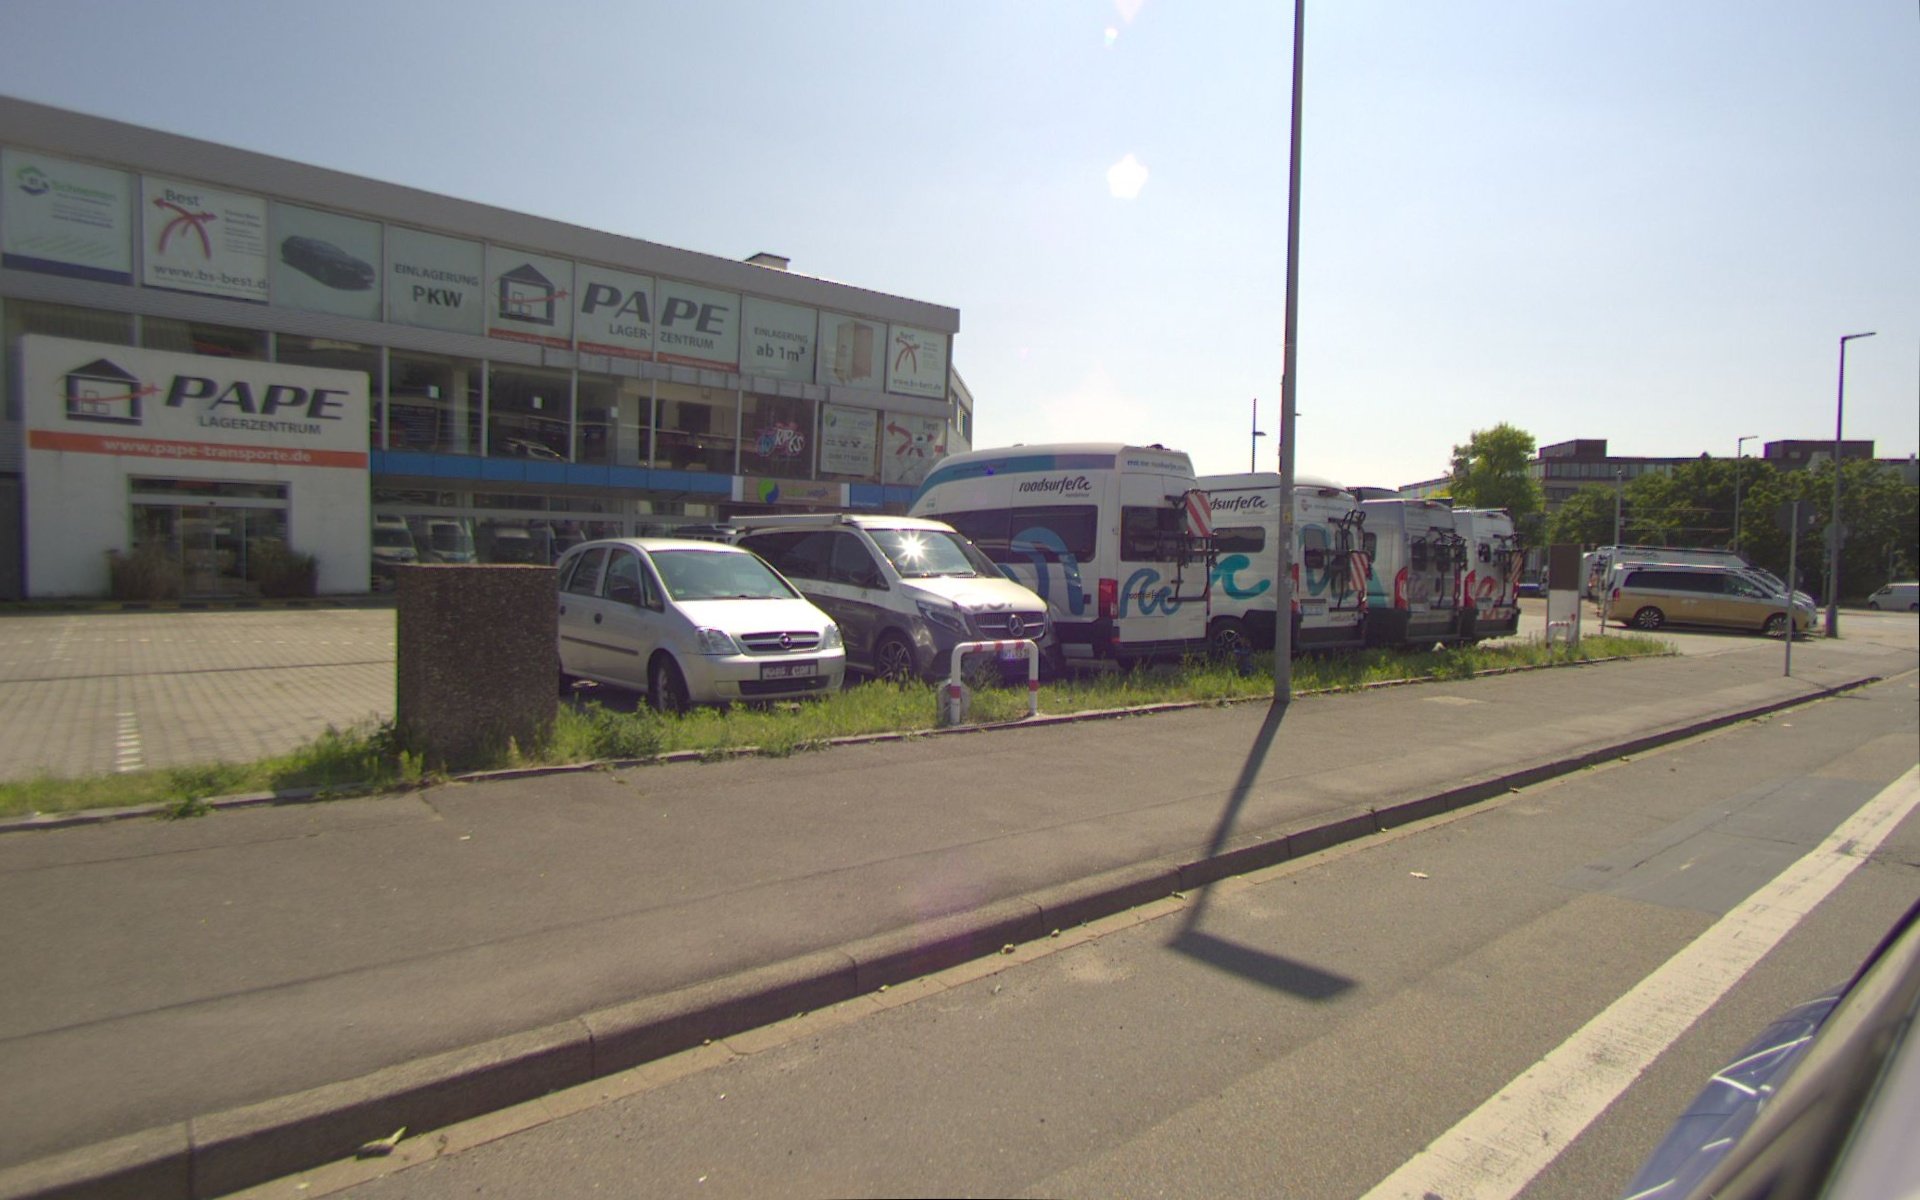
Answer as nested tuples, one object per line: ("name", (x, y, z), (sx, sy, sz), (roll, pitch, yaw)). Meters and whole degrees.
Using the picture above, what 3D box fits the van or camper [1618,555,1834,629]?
("van or camper", (24.021, -0.319, 31.995), (4.921, 2.070, 2.029), (3, 3, 20))

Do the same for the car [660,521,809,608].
("car", (-7.037, -1.124, 31.191), (2.285, 2.448, 5.310), (0, 3, -40))

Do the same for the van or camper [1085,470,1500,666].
("van or camper", (5.437, -0.610, 17.569), (2.664, 2.749, 6.365), (0, 3, -39))

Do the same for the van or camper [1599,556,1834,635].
("van or camper", (22.099, -0.195, 29.852), (5.073, 1.985, 1.975), (3, 4, 20))

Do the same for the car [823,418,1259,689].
("car", (0.752, -0.649, 14.011), (2.279, 2.904, 6.243), (0, 3, -39))

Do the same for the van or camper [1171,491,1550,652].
("van or camper", (7.339, -0.602, 19.297), (2.572, 2.555, 6.211), (0, 3, -39))

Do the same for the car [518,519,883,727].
("car", (-2.680, 0.149, 9.898), (1.768, 1.613, 3.925), (0, 1, -44))

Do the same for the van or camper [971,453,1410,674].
("van or camper", (3.254, -0.611, 15.840), (2.664, 2.733, 6.365), (0, 3, -39))

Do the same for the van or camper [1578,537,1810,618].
("van or camper", (26.752, -0.868, 37.201), (6.271, 2.669, 2.523), (2, 2, 15))

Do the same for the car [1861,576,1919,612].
("car", (61.759, -0.363, 65.261), (2.170, 2.159, 5.536), (1, 3, -1))

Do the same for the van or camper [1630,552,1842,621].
("van or camper", (26.117, -0.510, 34.333), (5.072, 2.101, 2.438), (2, 2, 18))

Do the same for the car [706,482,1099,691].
("car", (-0.972, -0.291, 12.205), (1.965, 1.975, 5.247), (0, 4, -40))
